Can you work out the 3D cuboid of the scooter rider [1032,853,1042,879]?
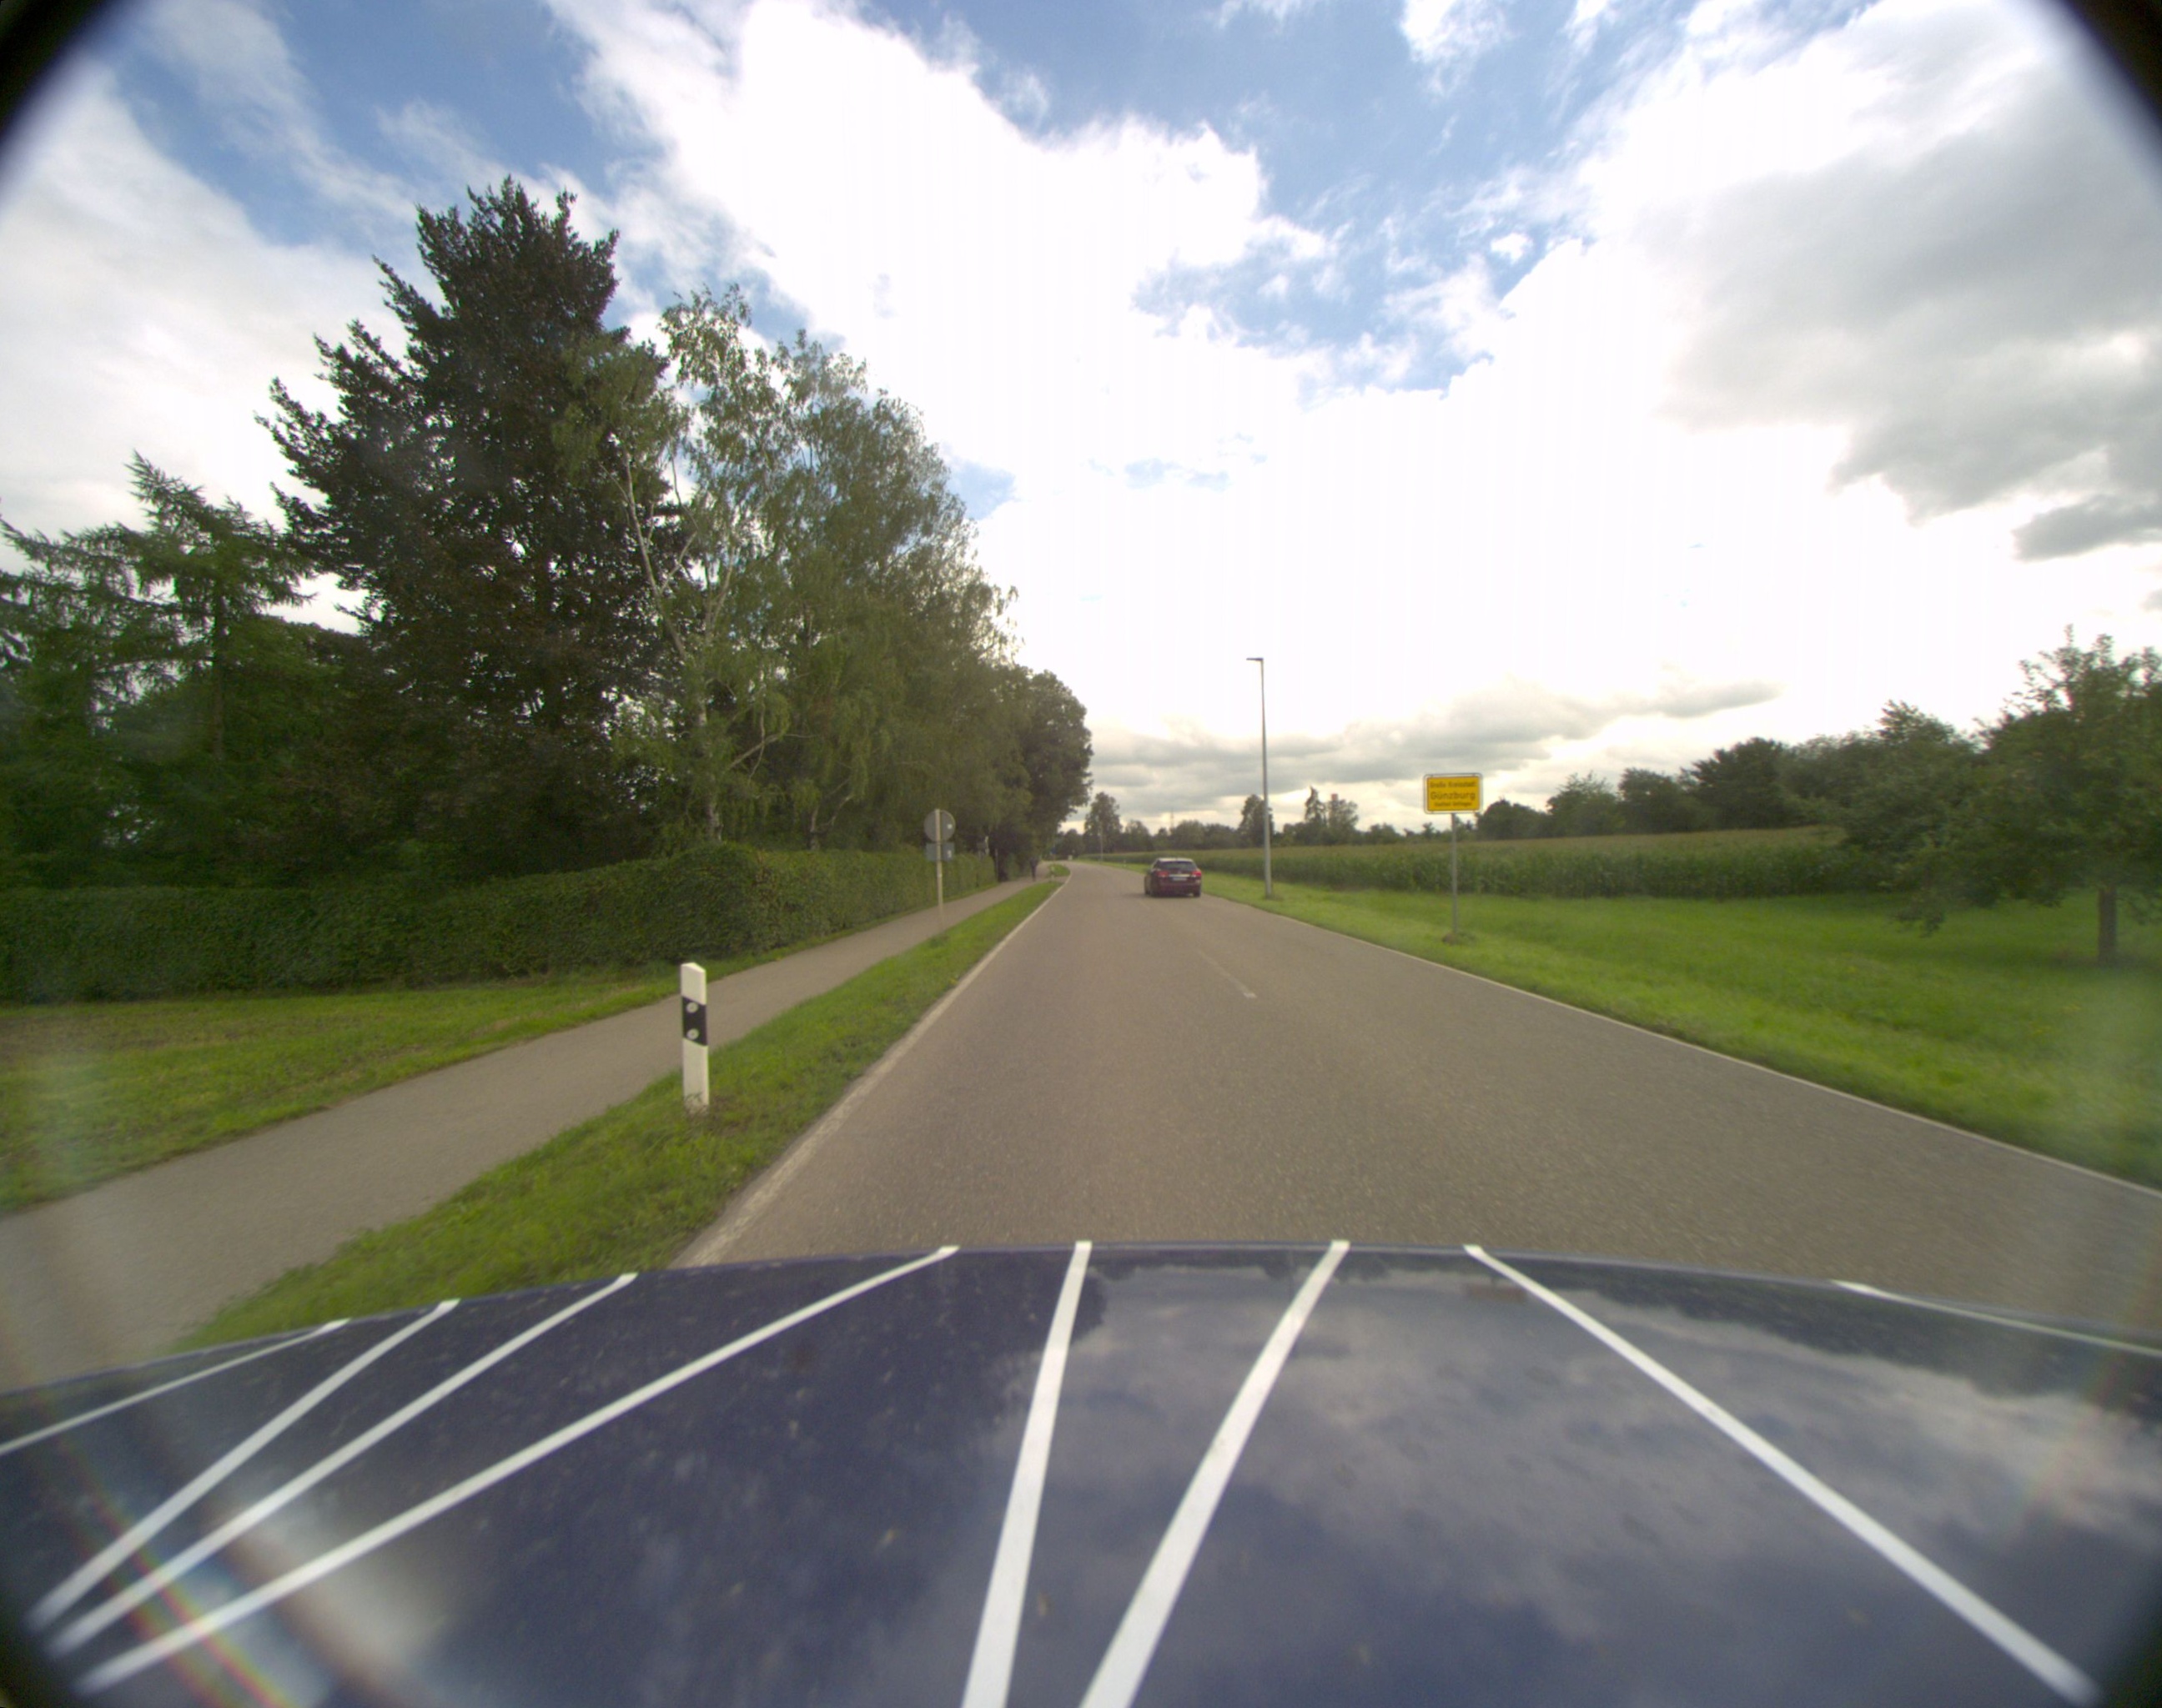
[{"bbox_3d":[-3.502,0.948,60.170,0.644,1.954,0.786,-2,1,1],"label":"scooter rider"}]

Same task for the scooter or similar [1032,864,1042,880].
[{"bbox_3d":[-3.471,1.404,60.120,0.650,1.157,1.695,-2,1,1],"label":"scooter or similar"}]

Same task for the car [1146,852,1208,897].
[{"bbox_3d":[3.538,0.708,28.700,1.869,1.543,4.181,0,0,1],"label":"car"}]
